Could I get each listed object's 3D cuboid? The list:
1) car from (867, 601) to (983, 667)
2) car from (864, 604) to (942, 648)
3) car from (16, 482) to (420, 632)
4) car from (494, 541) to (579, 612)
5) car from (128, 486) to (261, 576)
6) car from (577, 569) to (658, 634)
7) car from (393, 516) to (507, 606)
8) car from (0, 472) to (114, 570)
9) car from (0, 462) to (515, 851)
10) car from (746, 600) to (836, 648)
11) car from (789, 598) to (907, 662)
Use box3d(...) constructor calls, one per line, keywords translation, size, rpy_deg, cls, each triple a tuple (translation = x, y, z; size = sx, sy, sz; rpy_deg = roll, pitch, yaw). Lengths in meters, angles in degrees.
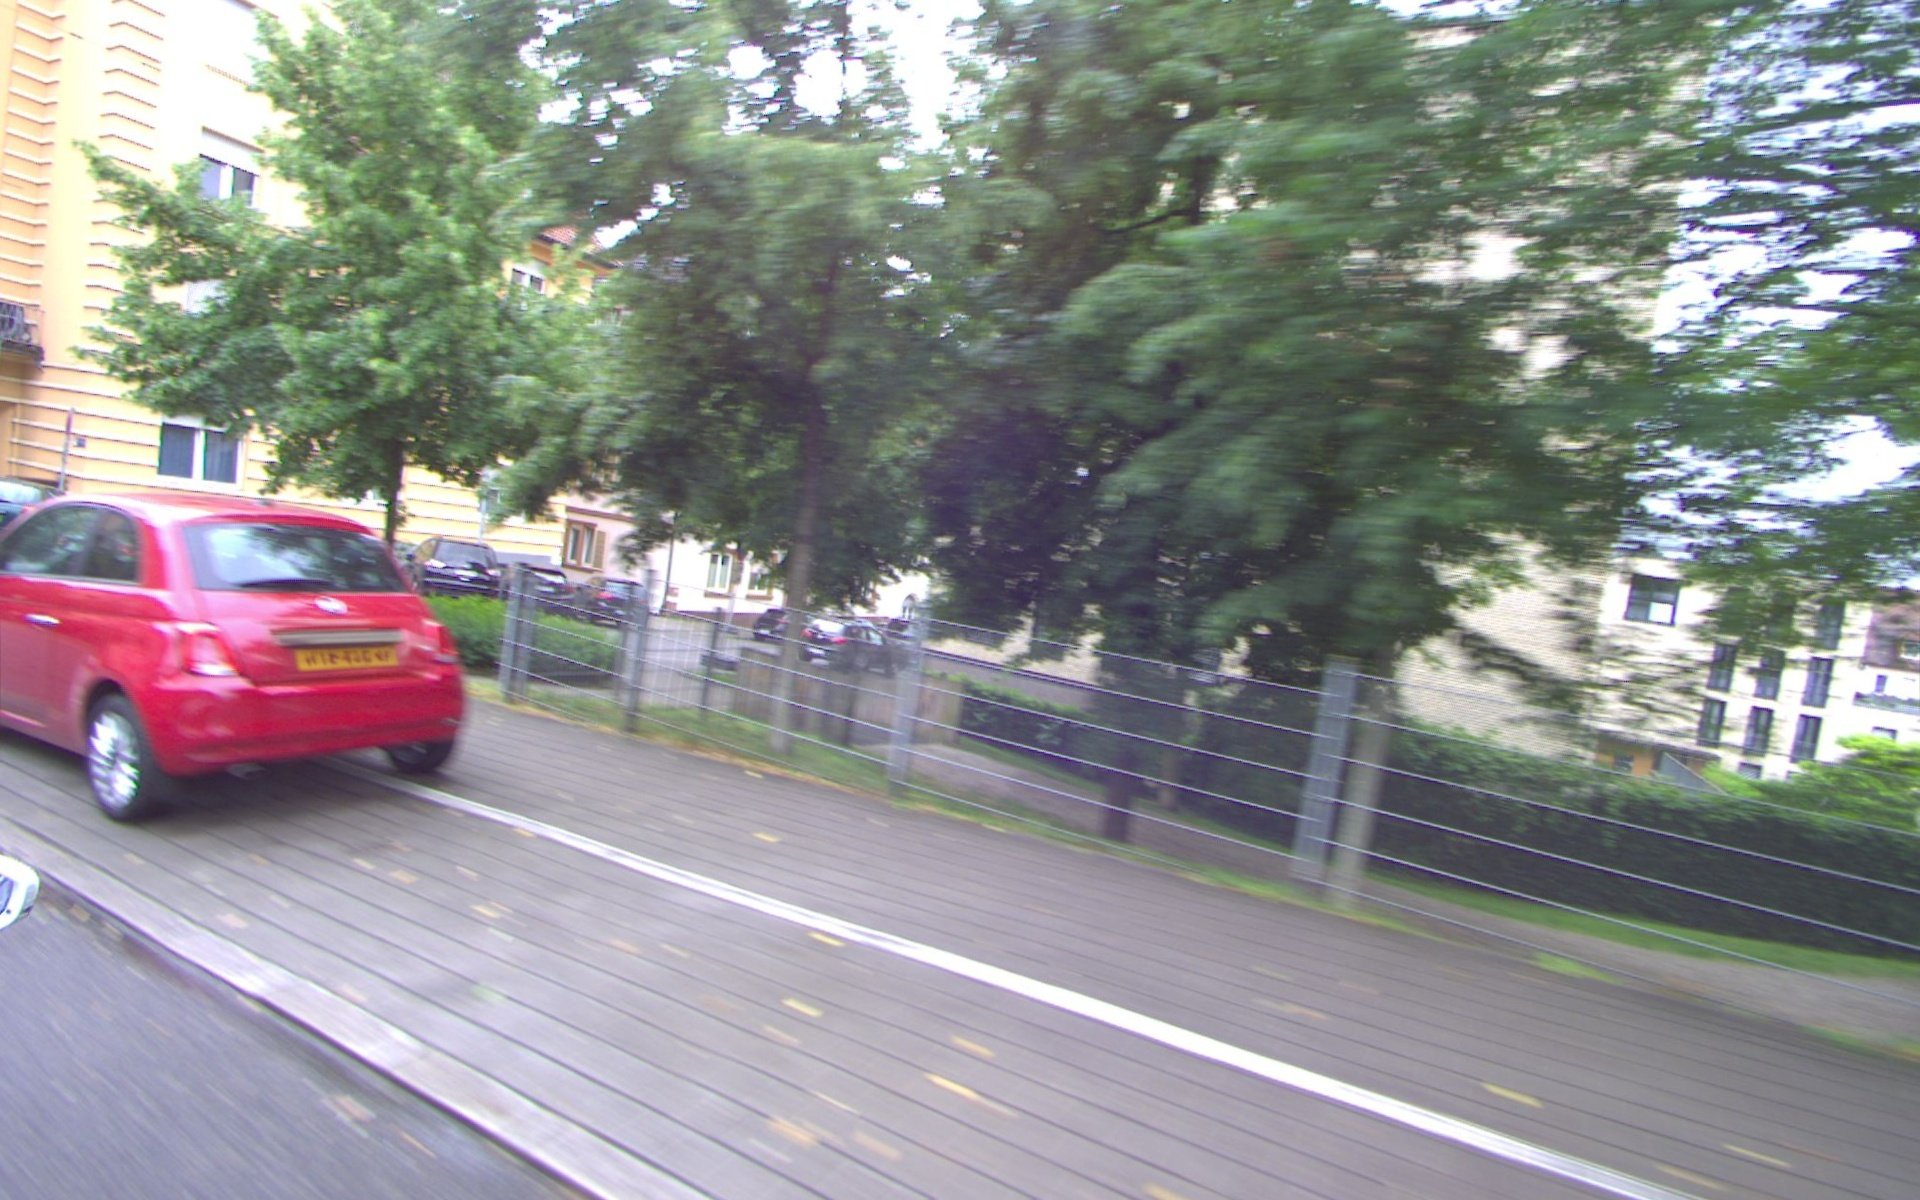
box3d(translation=(-1.140, 1.226, 35.132), size=(1.934, 1.728, 4.333), rpy_deg=(11, 0, 28), cls="car")
box3d(translation=(-2.697, 1.254, 48.327), size=(1.795, 1.553, 3.859), rpy_deg=(11, 0, 29), cls="car")
box3d(translation=(-10.655, -0.522, 14.873), size=(1.966, 1.516, 4.281), rpy_deg=(9, 0, 24), cls="car")
box3d(translation=(-11.884, -0.697, 28.107), size=(1.690, 1.486, 3.584), rpy_deg=(10, 1, -28), cls="car")
box3d(translation=(-16.070, -1.402, 21.287), size=(1.691, 1.510, 3.608), rpy_deg=(7, -1, -31), cls="car")
box3d(translation=(-10.397, 0.008, 30.405), size=(1.688, 1.489, 3.584), rpy_deg=(5, 3, -28), cls="car")
box3d(translation=(-13.097, -1.053, 25.679), size=(1.694, 1.746, 4.491), rpy_deg=(8, 2, -37), cls="car")
box3d(translation=(-16.903, -1.485, 17.976), size=(1.833, 1.489, 4.078), rpy_deg=(5, 3, -28), cls="car")
box3d(translation=(-4.610, 0.086, 5.865), size=(3.890, 1.523, 1.610), rpy_deg=(8, 4, 29), cls="car")
box3d(translation=(-6.725, 0.990, 40.367), size=(1.584, 1.405, 3.526), rpy_deg=(11, 0, 28), cls="car")
box3d(translation=(-3.327, 0.945, 30.537), size=(1.746, 1.442, 3.527), rpy_deg=(11, 0, 26), cls="car")
